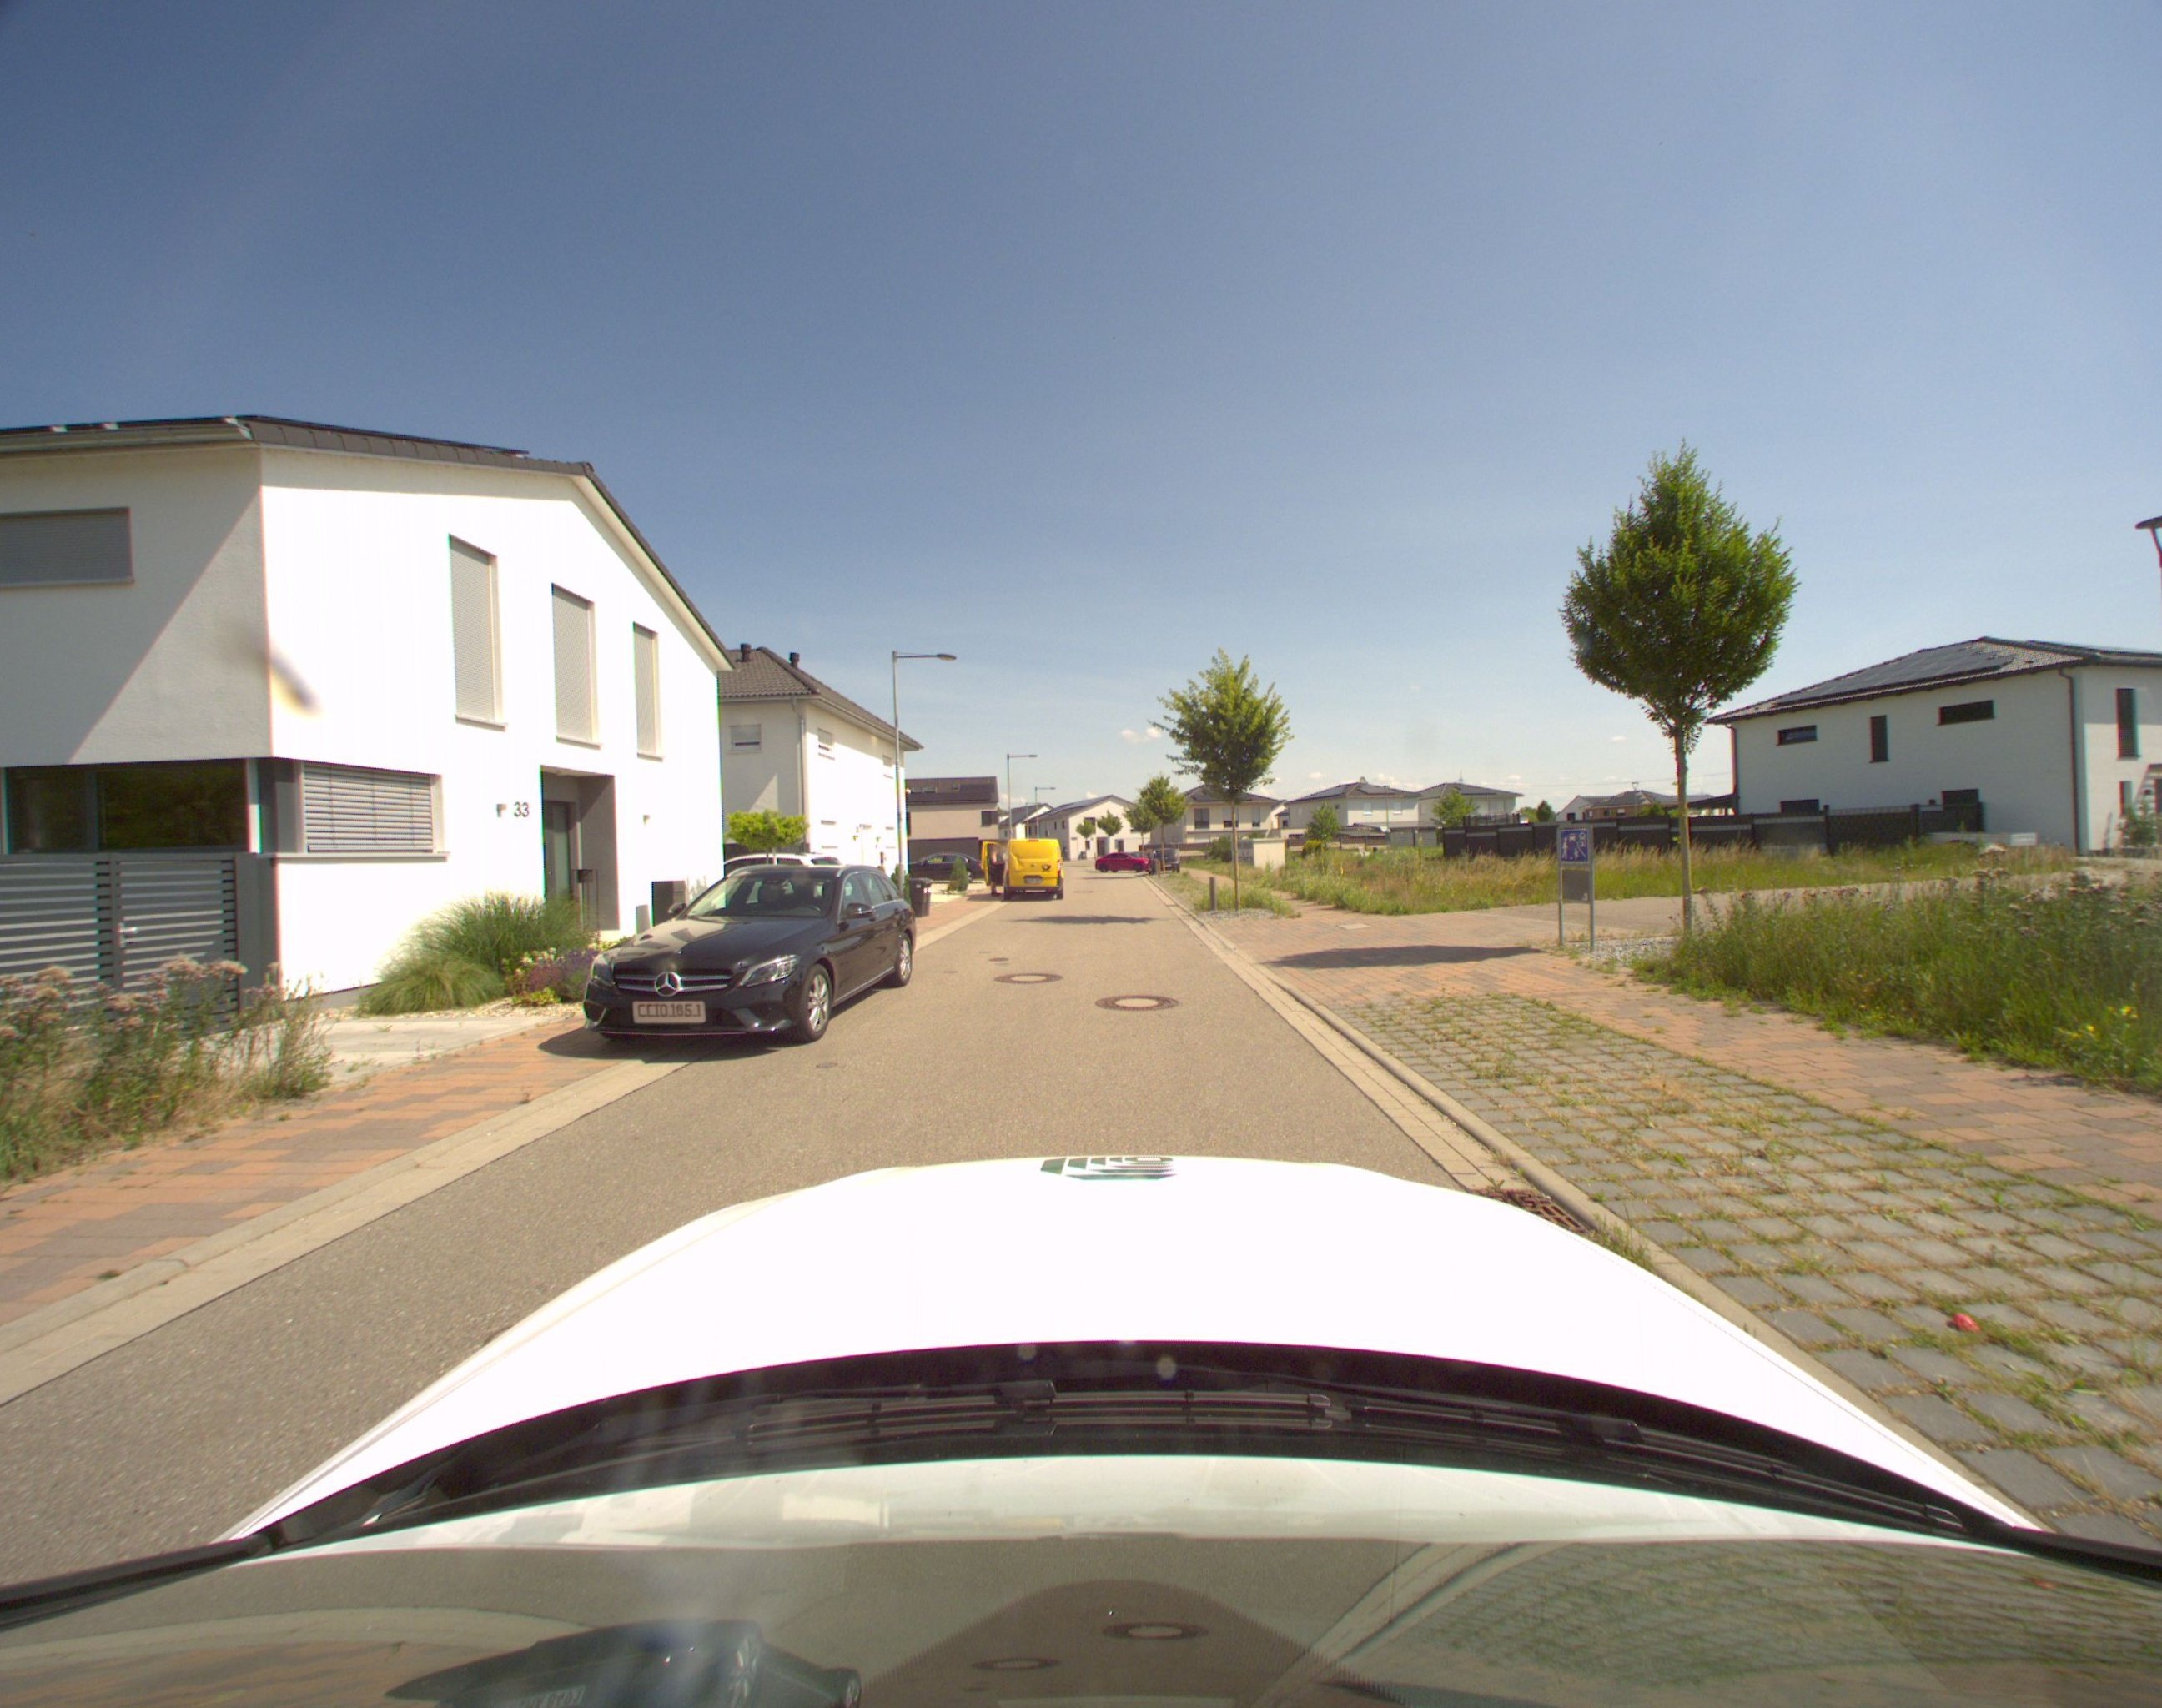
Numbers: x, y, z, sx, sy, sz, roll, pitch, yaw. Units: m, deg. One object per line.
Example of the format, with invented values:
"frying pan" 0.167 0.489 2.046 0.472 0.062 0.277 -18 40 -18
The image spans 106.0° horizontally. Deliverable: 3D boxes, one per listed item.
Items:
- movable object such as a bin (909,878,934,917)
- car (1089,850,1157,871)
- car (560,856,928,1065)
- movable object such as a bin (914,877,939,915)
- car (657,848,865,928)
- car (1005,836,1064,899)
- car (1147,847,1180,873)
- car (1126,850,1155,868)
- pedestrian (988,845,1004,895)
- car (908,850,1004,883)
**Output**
"movable object such as a bin" -3.903 1.059 19.948 0.484 0.925 0.530 -2 0 -1
"car" 2.924 0.449 57.471 4.461 1.438 1.779 -1 0 31
"car" -2.900 0.788 8.208 1.684 1.472 4.447 1 0 2
"movable object such as a bin" -3.885 1.046 20.500 0.484 0.925 0.530 -2 0 -1
"car" -7.159 0.745 18.460 3.934 1.619 1.797 -2 0 6
"car" -1.563 0.421 28.265 1.879 2.013 4.837 0 0 -2
"car" 4.807 0.327 47.745 1.593 1.475 3.675 -1 0 0
"car" 4.850 0.382 66.836 1.751 1.363 4.570 -1 0 -4
"pedestrian" -2.961 0.544 28.526 0.530 1.738 0.569 0 0 -5
"car" -5.942 0.573 38.678 4.395 1.452 1.742 -1 0 -12
